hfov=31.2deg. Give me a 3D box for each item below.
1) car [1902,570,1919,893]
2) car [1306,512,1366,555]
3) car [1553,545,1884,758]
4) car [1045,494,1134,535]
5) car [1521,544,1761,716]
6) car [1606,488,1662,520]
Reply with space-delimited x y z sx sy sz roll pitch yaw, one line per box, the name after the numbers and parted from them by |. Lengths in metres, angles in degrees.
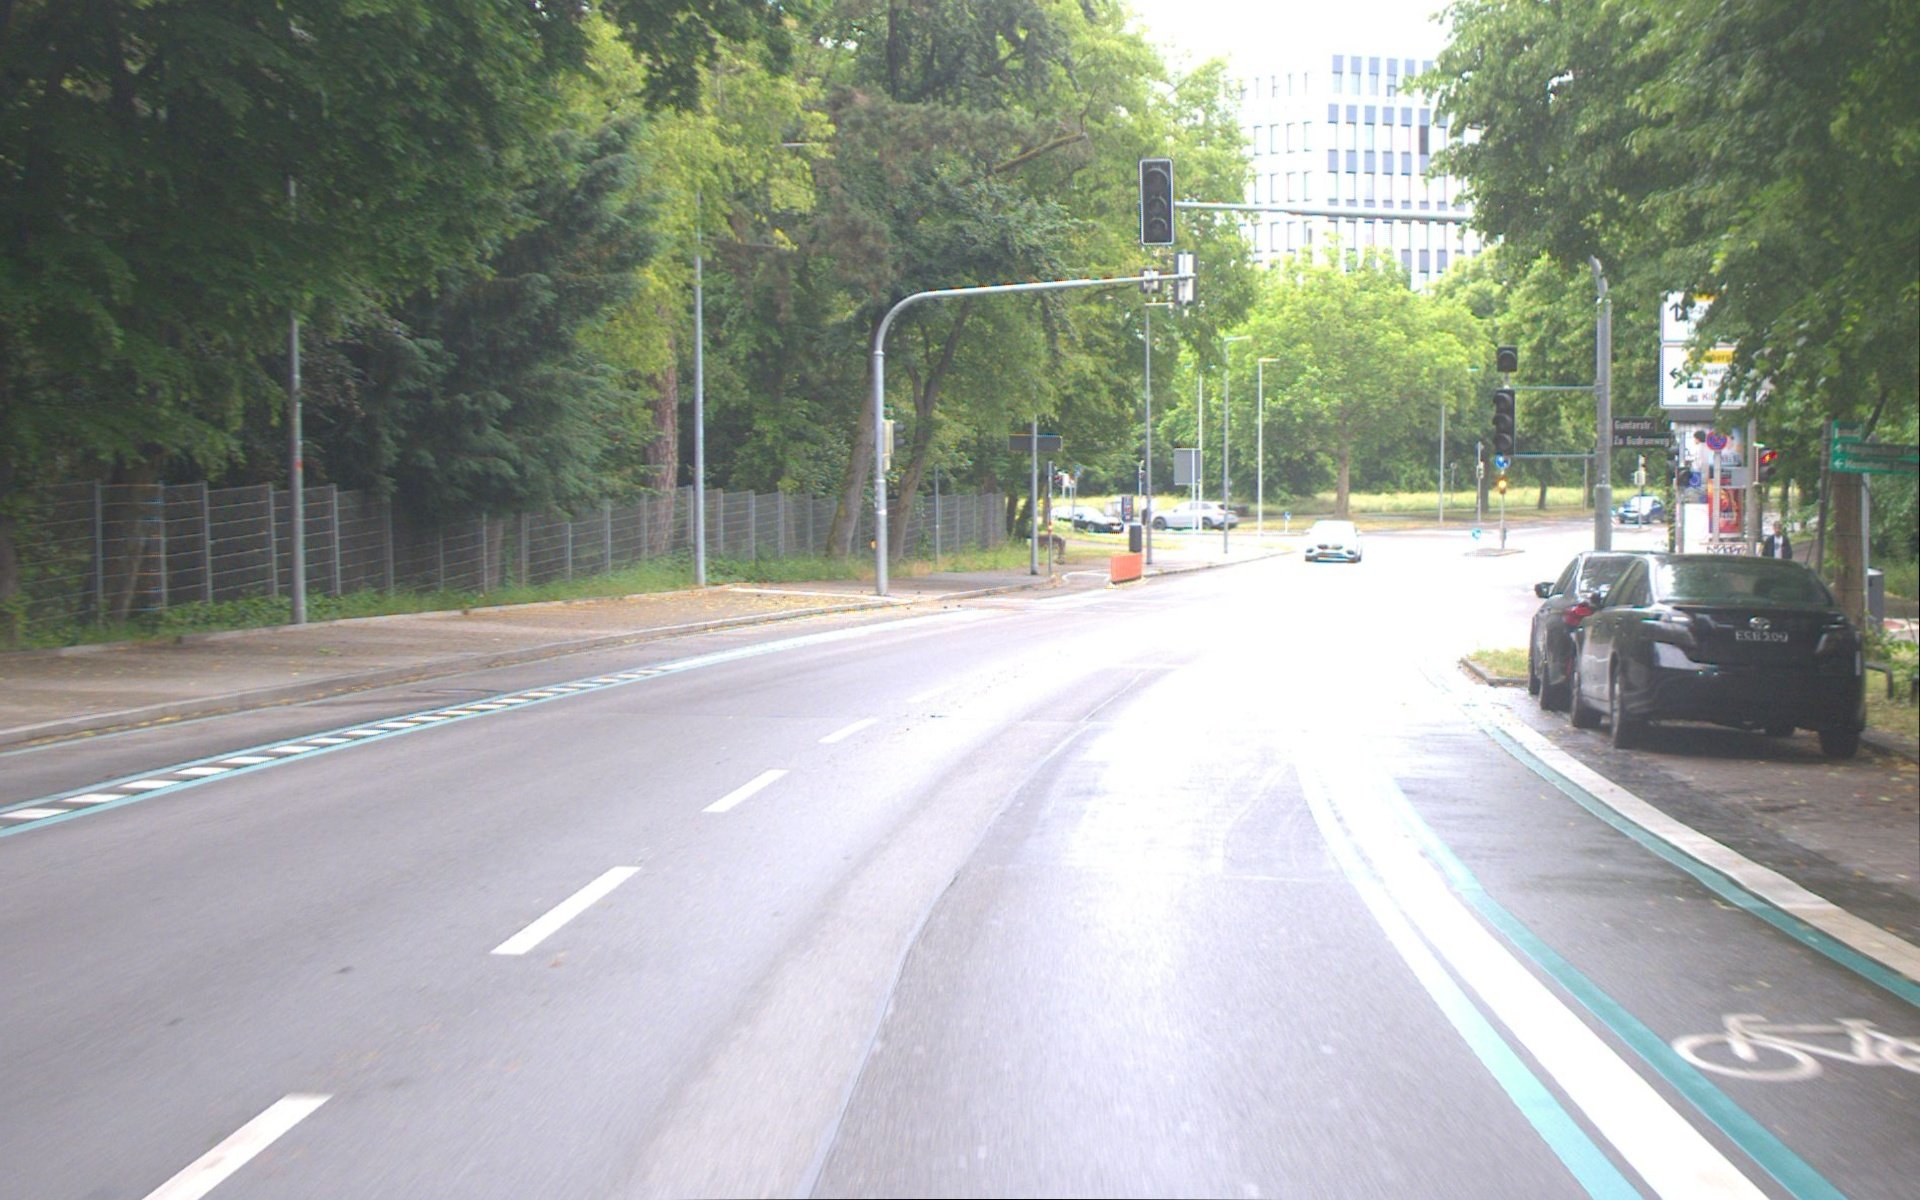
5.010 0.640 12.799 1.781 1.403 4.845 2 1 2 | car
13.958 -2.468 127.490 1.844 1.452 4.498 1 3 11 | car
5.762 0.325 26.651 1.699 1.415 4.763 3 1 3 | car
6.322 -4.202 168.094 3.990 1.436 1.606 8 4 12 | car
6.357 0.220 32.544 1.758 1.435 4.856 2 1 6 | car
37.262 -5.303 189.965 1.996 1.679 3.994 2 2 26 | car
